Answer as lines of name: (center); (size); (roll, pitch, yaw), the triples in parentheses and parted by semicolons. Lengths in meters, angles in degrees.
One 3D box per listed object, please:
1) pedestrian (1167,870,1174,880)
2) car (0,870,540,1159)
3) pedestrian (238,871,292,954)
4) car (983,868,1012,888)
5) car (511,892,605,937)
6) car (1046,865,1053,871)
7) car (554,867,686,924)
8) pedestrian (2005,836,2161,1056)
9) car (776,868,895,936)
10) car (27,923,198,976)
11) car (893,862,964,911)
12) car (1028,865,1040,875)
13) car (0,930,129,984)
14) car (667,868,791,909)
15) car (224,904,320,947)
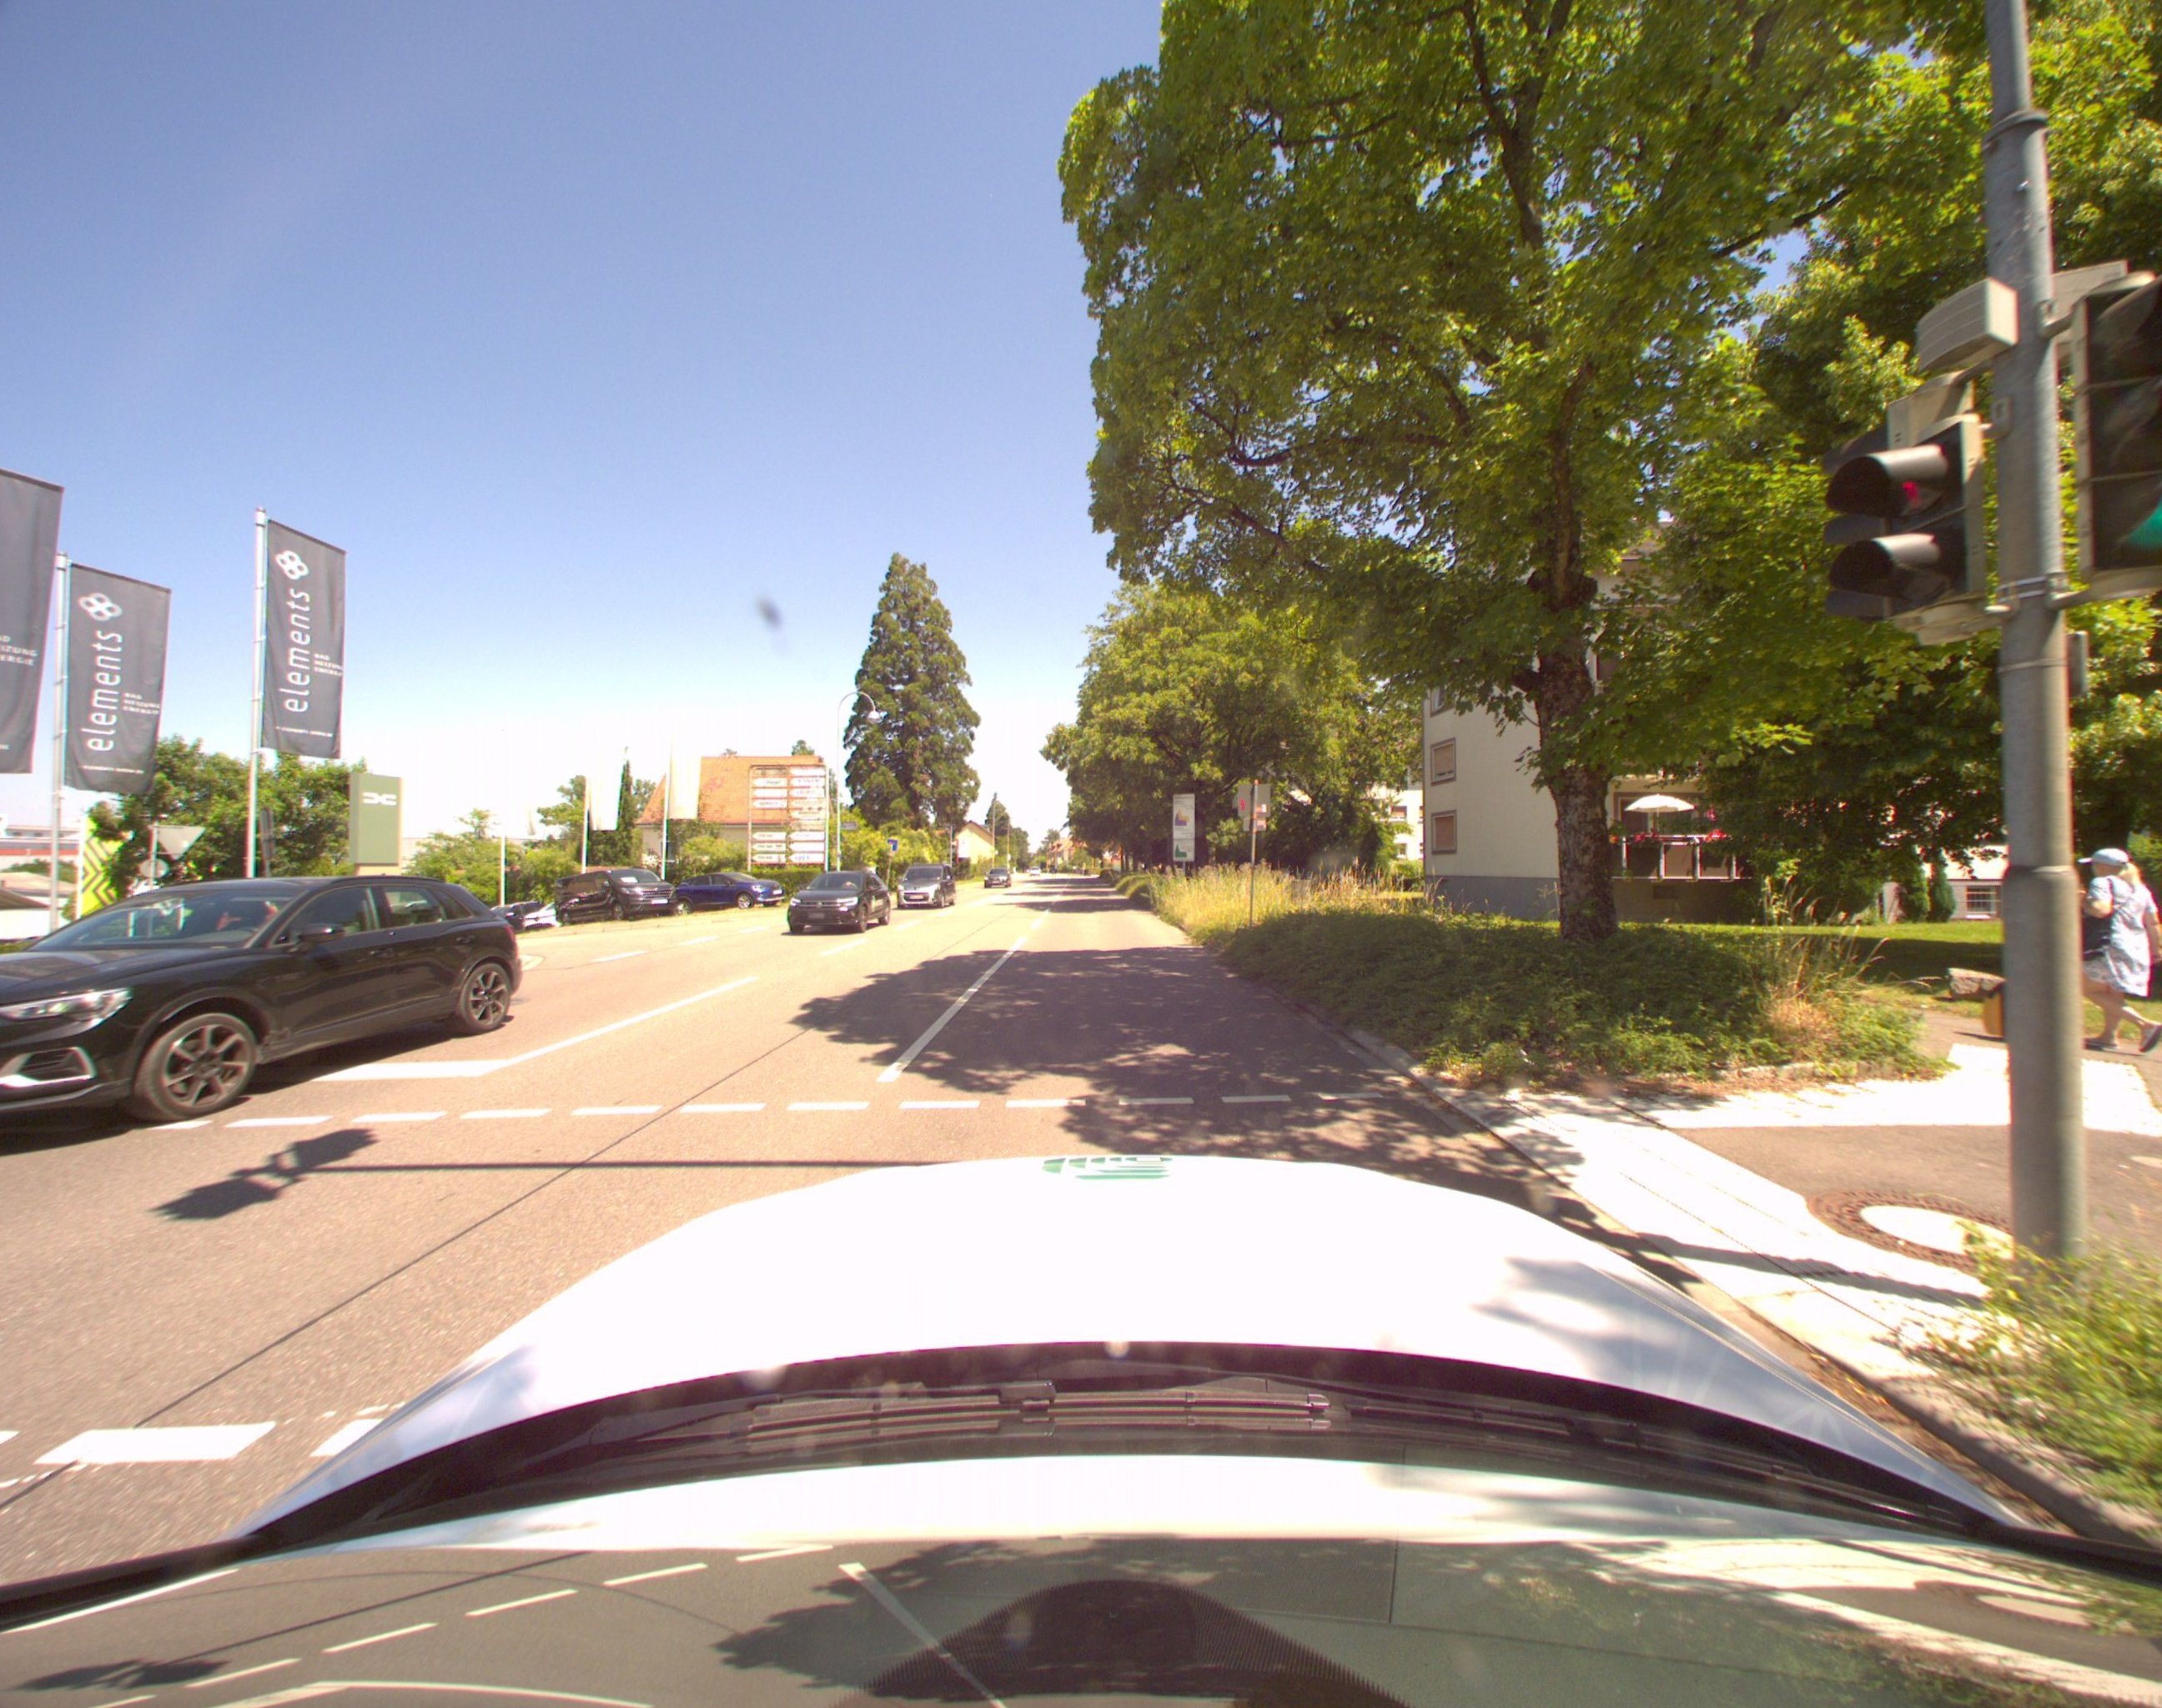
pedestrian: (10.006, 2.360, 90.848); (0.701, 1.160, 0.755); (0, -1, 3)
car: (-6.693, 0.938, 6.576); (1.922, 1.555, 4.298); (-1, -1, -3)
pedestrian: (-17.806, 1.252, 17.775); (0.538, 1.761, 0.706); (-2, -1, 29)
car: (-6.556, 1.849, 64.169); (1.788, 1.536, 4.314); (-1, -1, 0)
car: (-22.968, 2.617, 35.949); (1.806, 1.722, 4.080); (0, -1, -6)
car: (-10.060, 4.467, 260.096); (1.809, 1.718, 4.000); (0, -1, 1)
car: (-16.490, 1.441, 29.098); (4.400, 1.727, 2.077); (-2, 3, 31)
pedestrian: (8.297, 0.688, 6.550); (0.717, 1.633, 0.849); (-1, -1, -6)
car: (-6.102, 1.137, 20.768); (1.864, 1.507, 4.050); (-1, -1, -1)
car: (-33.892, 3.295, 28.683); (1.646, 1.415, 3.858); (-1, -1, -7)
car: (-5.977, 1.225, 32.426); (1.804, 1.762, 4.572); (-1, -1, 2)
car: (-8.030, 2.708, 139.919); (1.906, 1.689, 4.124); (-1, -1, 0)
car: (-36.639, 3.607, 28.791); (1.753, 1.486, 3.984); (-1, -1, -11)
car: (-13.546, 1.333, 31.419); (4.108, 1.504, 1.783); (-1, -1, 11)
car: (-39.049, 3.397, 39.440); (1.815, 1.722, 4.060); (0, -1, -21)
